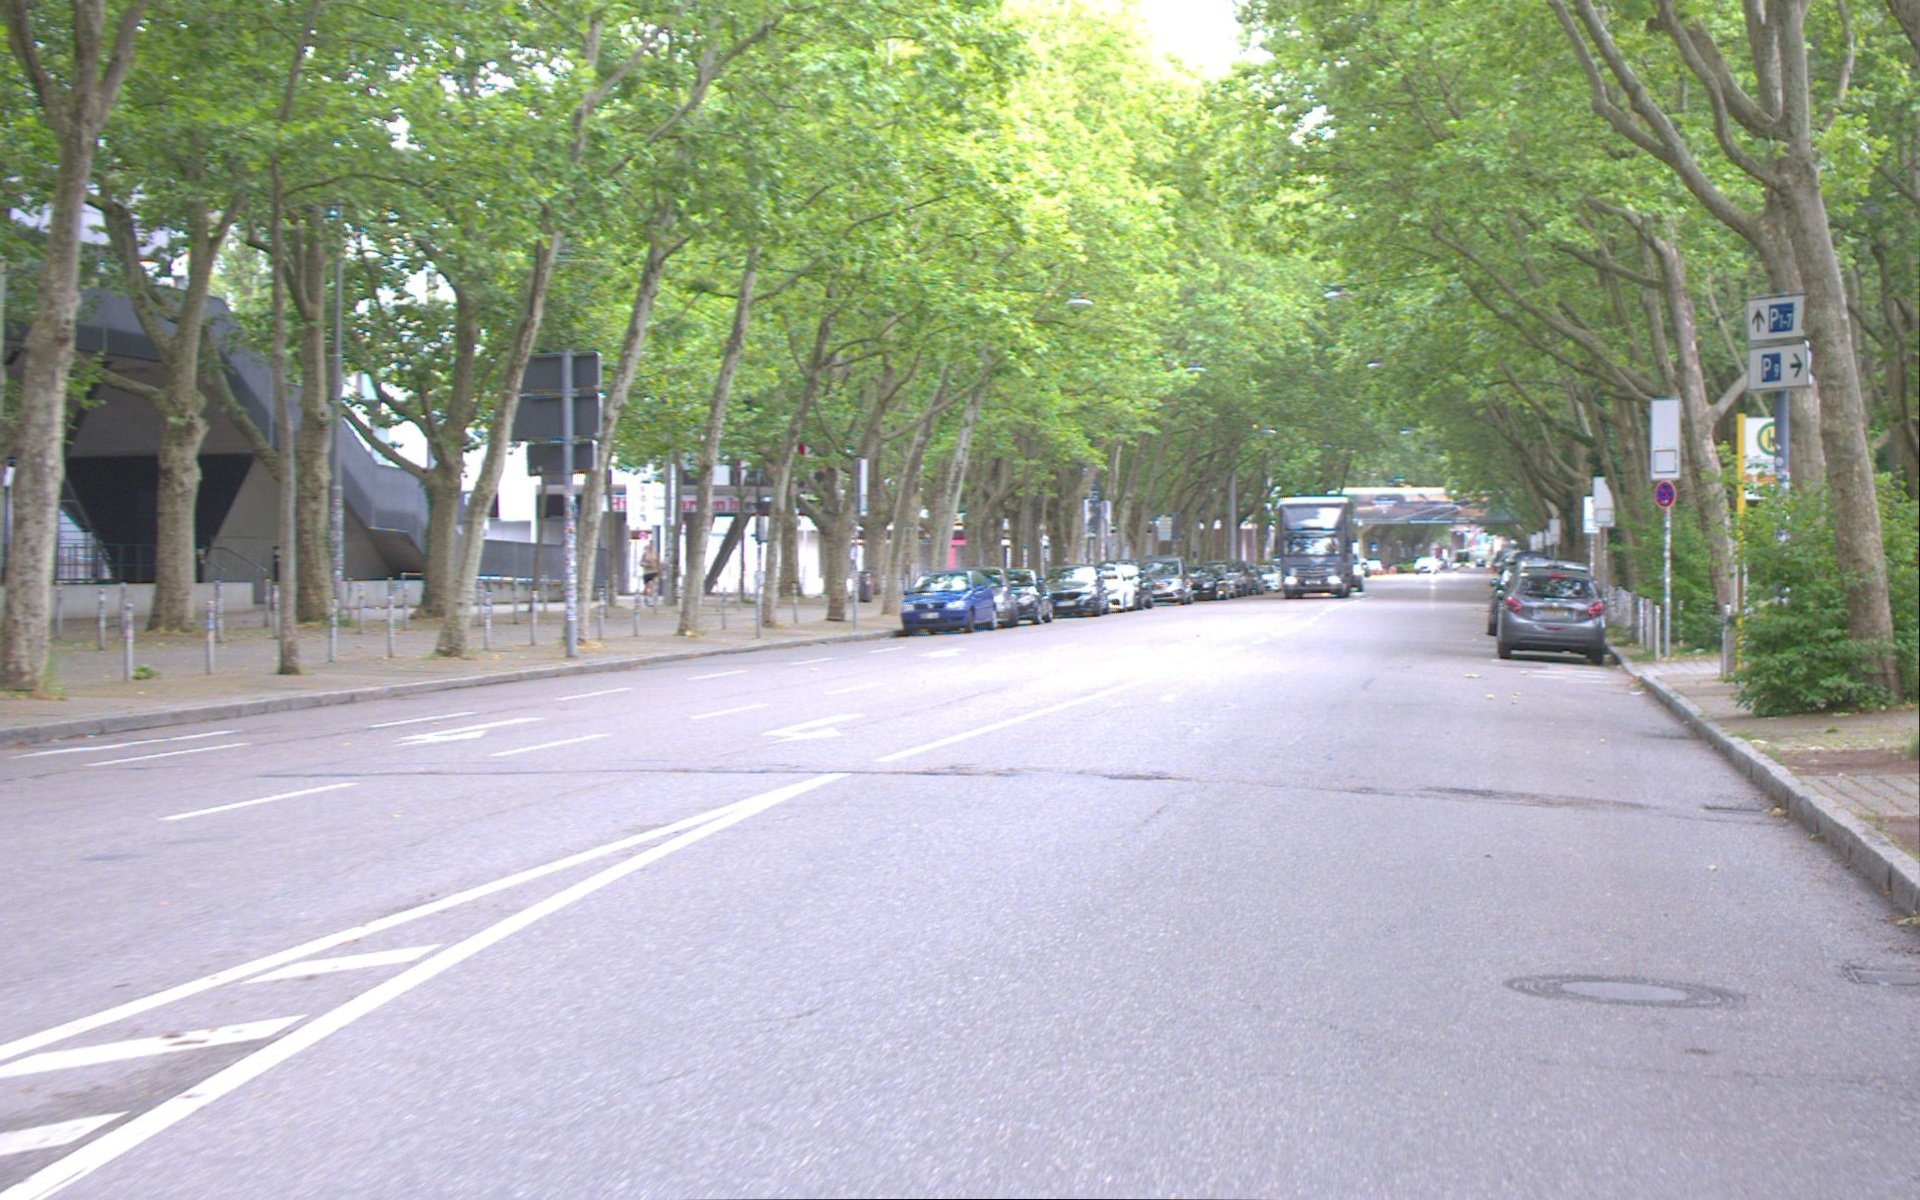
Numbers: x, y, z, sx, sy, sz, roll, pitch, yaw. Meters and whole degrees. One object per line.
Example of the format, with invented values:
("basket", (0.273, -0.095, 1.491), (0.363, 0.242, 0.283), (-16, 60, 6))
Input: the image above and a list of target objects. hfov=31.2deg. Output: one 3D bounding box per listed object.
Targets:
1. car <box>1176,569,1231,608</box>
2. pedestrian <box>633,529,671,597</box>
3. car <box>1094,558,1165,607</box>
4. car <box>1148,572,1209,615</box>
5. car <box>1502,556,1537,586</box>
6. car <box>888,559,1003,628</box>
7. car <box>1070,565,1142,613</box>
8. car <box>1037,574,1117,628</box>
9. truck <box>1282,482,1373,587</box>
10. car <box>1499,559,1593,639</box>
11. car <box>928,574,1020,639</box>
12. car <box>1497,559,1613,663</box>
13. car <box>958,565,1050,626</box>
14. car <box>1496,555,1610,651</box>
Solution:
("car", (9.546, -0.429, 134.681), (1.895, 1.433, 3.998), (-1, -1, 7))
("pedestrian", (-8.393, -1.001, 93.589), (0.769, 1.828, 0.879), (0, 1, -25))
("car", (5.362, -0.528, 108.457), (1.895, 1.433, 3.998), (-1, -1, 7))
("car", (7.810, -0.210, 122.598), (1.895, 1.433, 3.998), (-1, -1, 7))
("car", (30.047, -1.556, 184.763), (1.756, 1.529, 3.927), (3, 1, 9))
("car", (-0.293, -0.130, 76.411), (1.696, 1.414, 3.759), (-3, -1, 13))
("car", (4.398, -0.319, 102.828), (1.733, 1.328, 3.998), (-1, -1, 8))
("car", (3.292, 0.043, 95.936), (1.766, 1.414, 3.760), (-3, -1, 9))
("truck", (14.375, -2.486, 134.030), (2.642, 3.888, 9.536), (-1, 0, 11))
("car", (12.152, -0.032, 71.441), (1.756, 1.485, 4.415), (4, 1, 9))
("car", (0.364, 0.168, 81.268), (1.766, 1.414, 3.760), (-3, -1, 6))
("car", (9.770, 0.142, 56.718), (1.699, 1.514, 4.452), (4, 1, 9))
("car", (1.120, -0.104, 86.070), (1.766, 1.414, 3.760), (-3, -1, 9))
("car", (10.674, 0.030, 62.065), (1.719, 1.562, 4.093), (4, 1, 7))
